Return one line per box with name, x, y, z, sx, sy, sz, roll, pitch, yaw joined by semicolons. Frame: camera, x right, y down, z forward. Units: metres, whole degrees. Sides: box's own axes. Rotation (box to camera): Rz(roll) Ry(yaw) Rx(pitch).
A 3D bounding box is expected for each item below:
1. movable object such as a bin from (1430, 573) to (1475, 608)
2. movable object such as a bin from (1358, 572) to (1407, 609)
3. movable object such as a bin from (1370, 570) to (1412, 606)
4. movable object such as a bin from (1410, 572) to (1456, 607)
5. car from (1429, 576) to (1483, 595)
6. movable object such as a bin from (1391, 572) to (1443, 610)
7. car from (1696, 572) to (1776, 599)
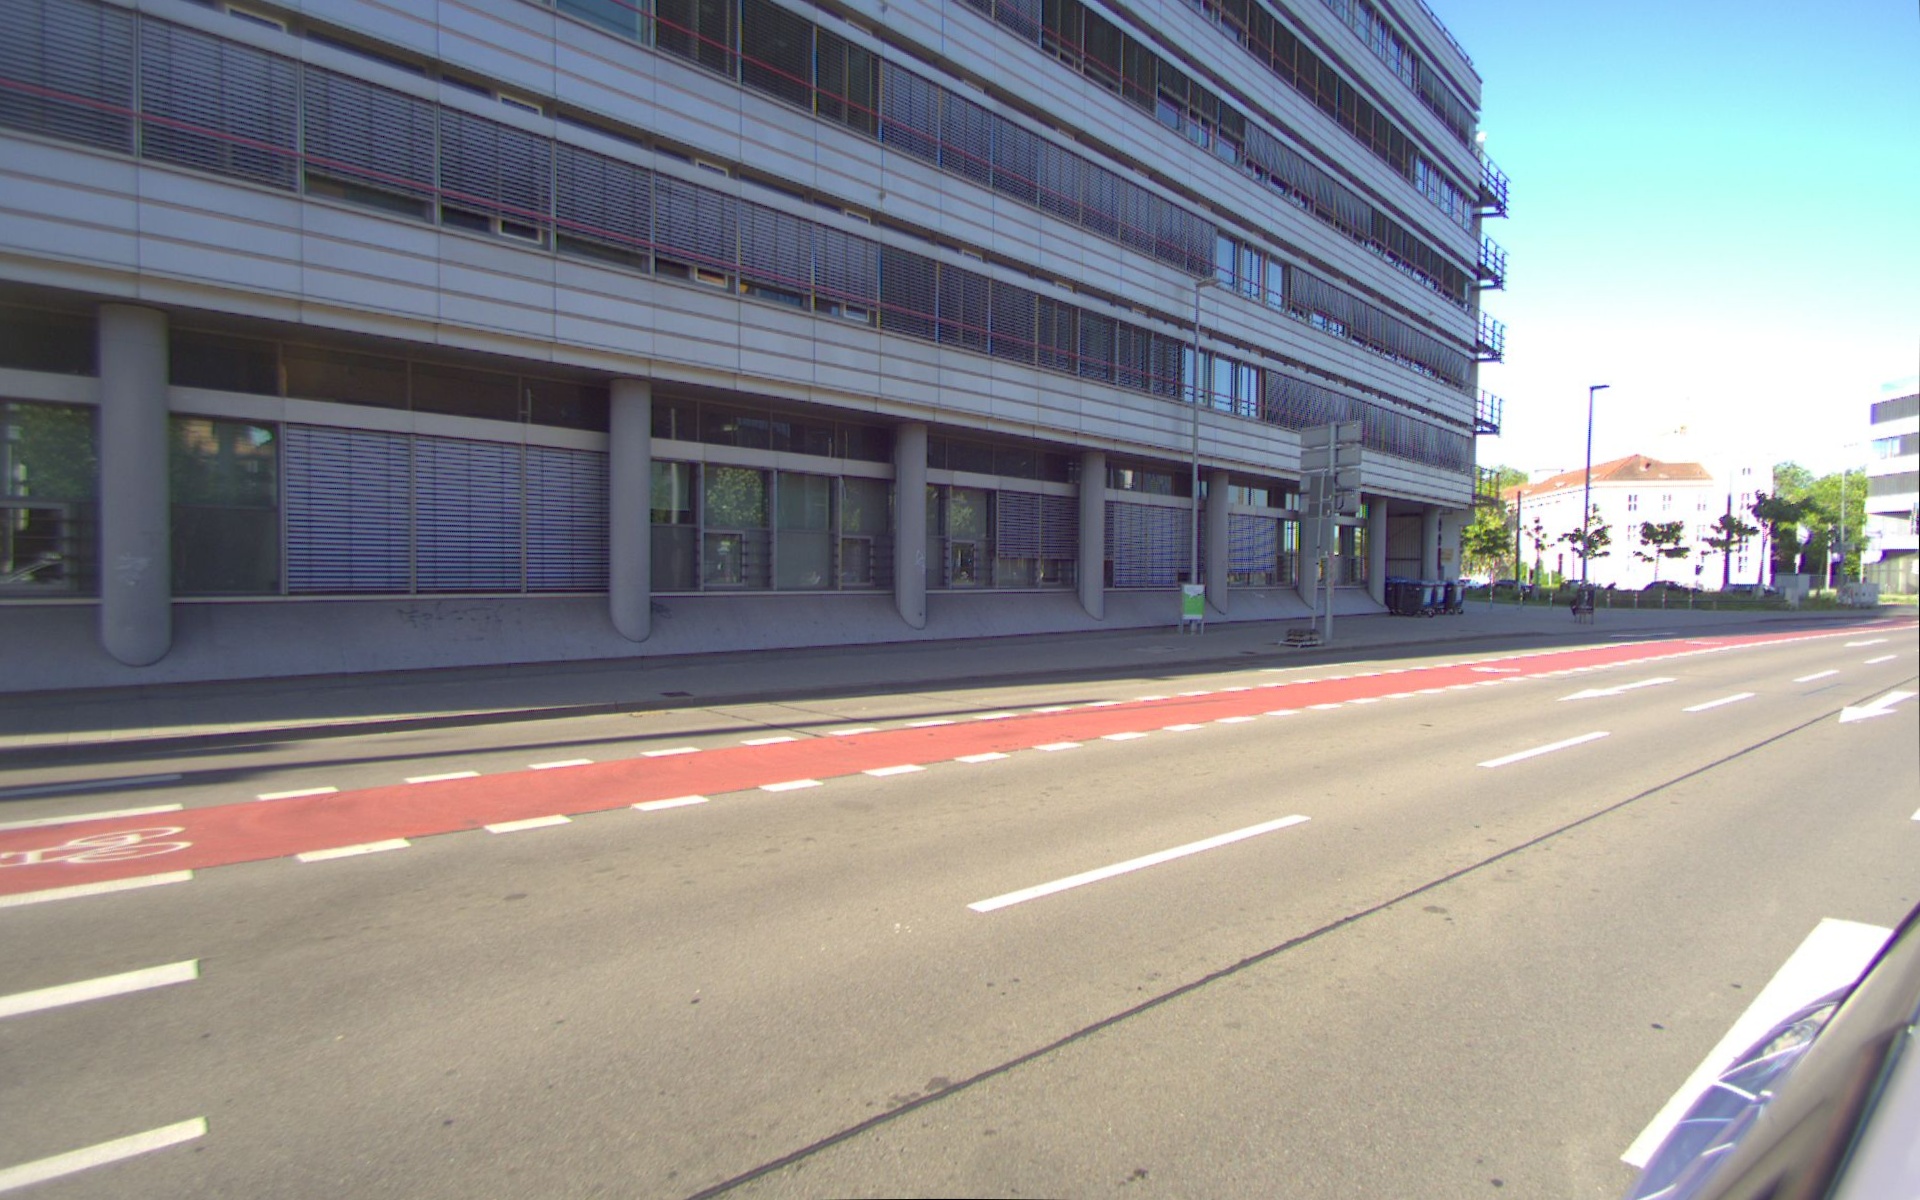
movable object such as a bin;19.633;-0.394;40.349;1.305;1.317;1.173;-1;2;-40
movable object such as a bin;15.851;-0.370;37.985;1.153;1.317;1.327;-1;2;-40
movable object such as a bin;16.902;-0.481;39.677;1.088;1.391;1.109;-1;2;-40
movable object such as a bin;18.521;-0.418;39.619;1.305;1.317;1.173;-1;2;-40
car;41.493;-1.229;84.751;1.705;1.550;3.807;0;2;-28
movable object such as a bin;16.646;-0.336;36.870;1.153;1.317;1.327;-1;2;-40
car;47.314;-0.903;61.803;1.706;1.550;3.806;0;2;-4
